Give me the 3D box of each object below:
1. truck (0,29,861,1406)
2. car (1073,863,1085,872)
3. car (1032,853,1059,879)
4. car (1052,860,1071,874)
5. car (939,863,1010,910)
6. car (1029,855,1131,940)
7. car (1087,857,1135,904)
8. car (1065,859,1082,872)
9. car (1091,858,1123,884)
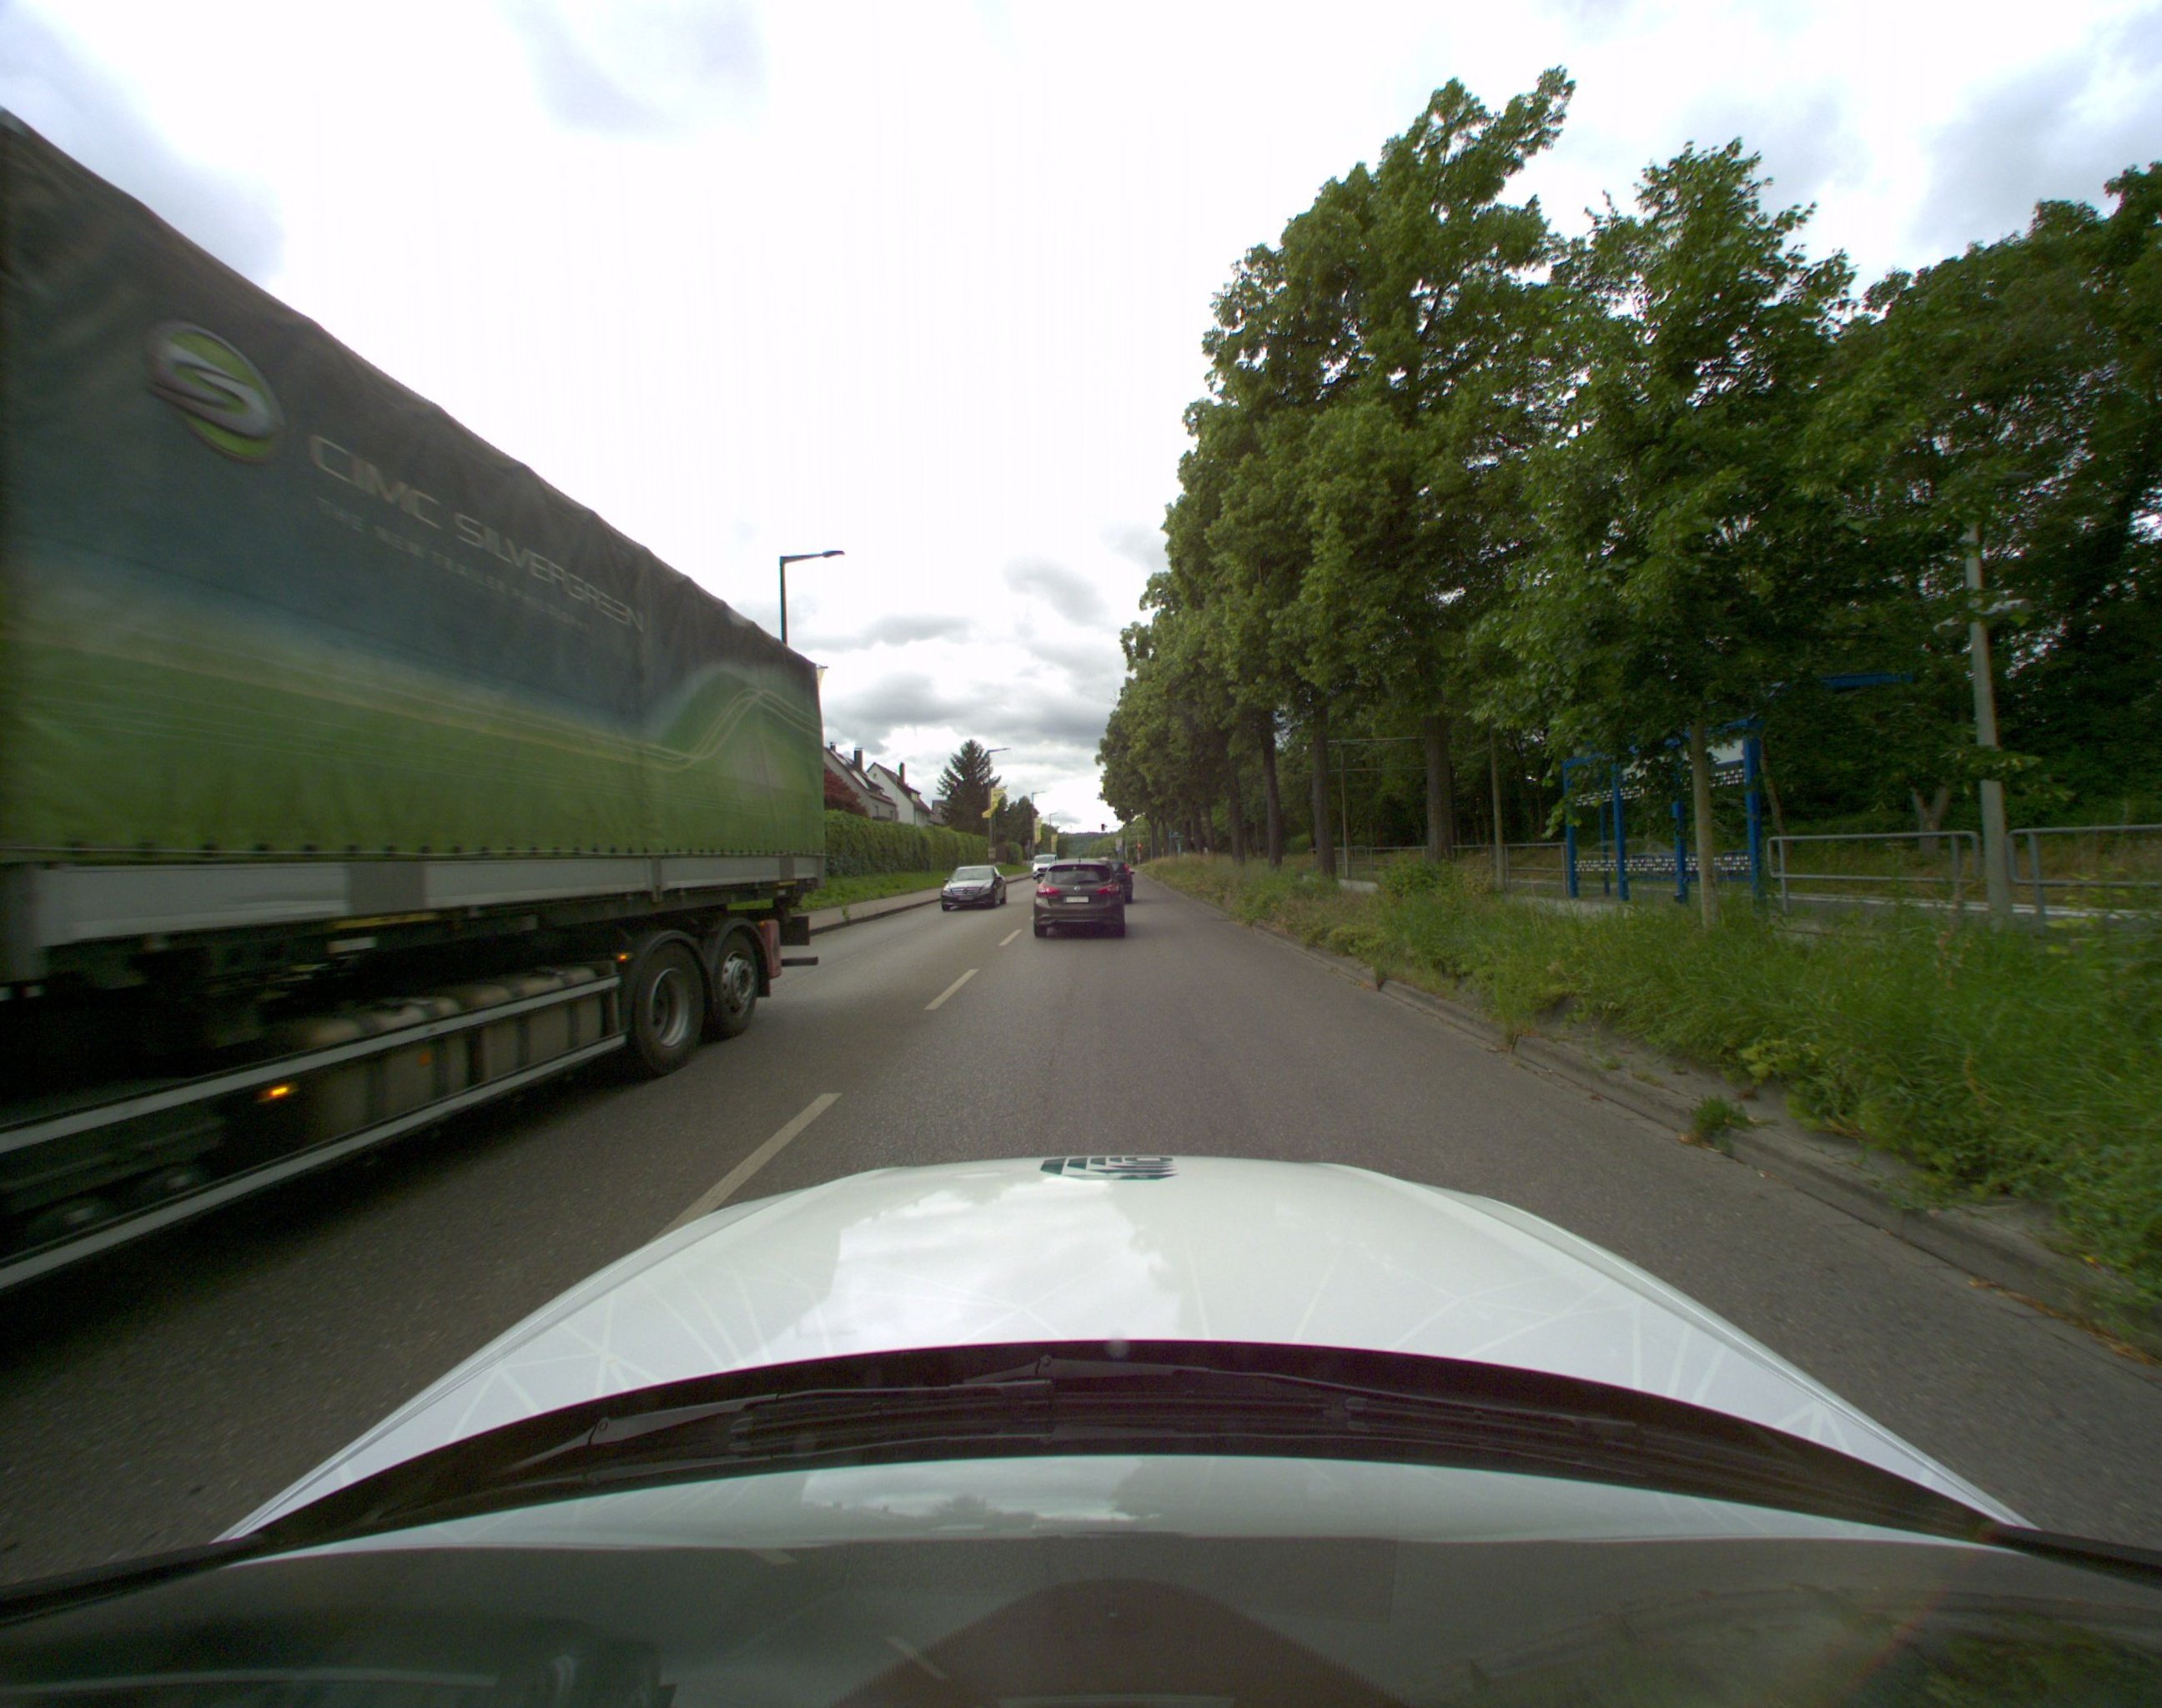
[{"bbox_3d":[-4.361,-0.351,5.376,2.541,4.043,10.620,-4,-1,1],"label":"truck"},{"bbox_3d":[-0.309,2.264,136.846,1.722,1.464,4.154,-3,0,1],"label":"car"},{"bbox_3d":[-2.892,0.963,67.269,1.900,1.932,4.911,-3,0,1],"label":"car"},{"bbox_3d":[-1.983,1.309,84.544,1.645,1.348,4.479,-3,0,1],"label":"car"},{"bbox_3d":[-3.563,1.057,27.841,1.726,1.375,4.240,-3,0,1],"label":"car"},{"bbox_3d":[0.054,0.810,17.357,1.828,1.519,4.484,-2,0,2],"label":"car"},{"bbox_3d":[1.034,0.886,28.511,1.533,1.478,3.765,-2,0,2],"label":"car"},{"bbox_3d":[-0.833,1.331,97.345,1.880,1.383,4.490,-3,0,0],"label":"car"},{"bbox_3d":[1.556,0.991,48.896,1.785,1.397,4.001,-2,0,2],"label":"car"}]
